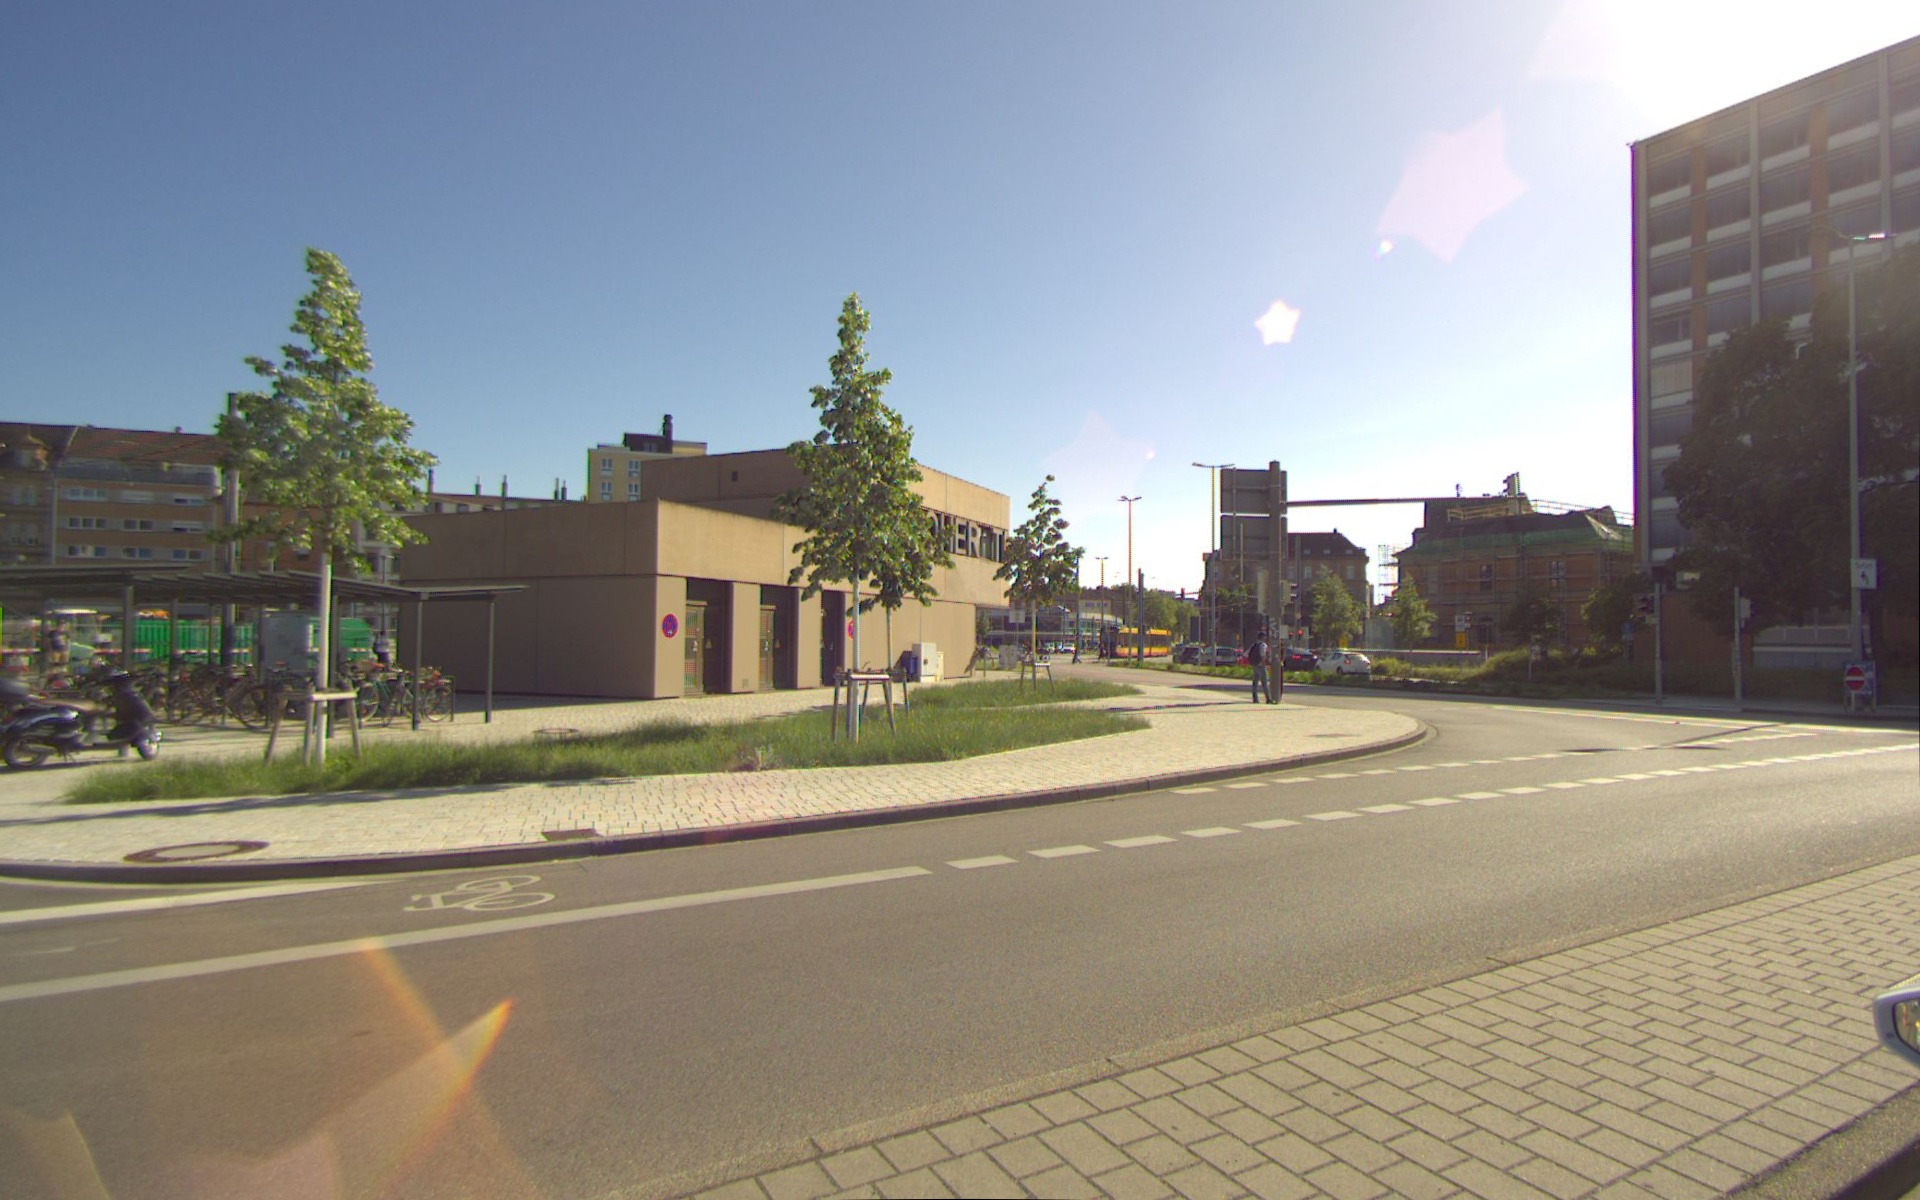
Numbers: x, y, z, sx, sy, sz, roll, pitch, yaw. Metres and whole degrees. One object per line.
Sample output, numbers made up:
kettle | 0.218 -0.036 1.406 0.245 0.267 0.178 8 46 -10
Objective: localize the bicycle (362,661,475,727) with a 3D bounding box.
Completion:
bicycle | -9.928 1.697 18.489 0.449 1.112 1.902 0 -2 26

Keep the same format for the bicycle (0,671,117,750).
bicycle | -13.029 1.537 14.014 0.449 1.022 1.902 0 -2 26

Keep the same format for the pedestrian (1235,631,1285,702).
pedestrian | 7.628 1.681 25.554 1.044 1.753 0.652 1 -2 -16

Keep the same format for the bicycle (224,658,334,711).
bicycle | -14.073 1.728 20.828 0.449 1.022 1.902 0 -2 26

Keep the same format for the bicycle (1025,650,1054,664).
bicycle | 6.805 4.881 85.969 2.370 1.076 0.811 2 0 4

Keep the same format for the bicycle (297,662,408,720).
bicycle | -11.797 1.744 19.576 0.449 1.022 1.902 0 -2 26

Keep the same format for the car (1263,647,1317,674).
car | 20.577 3.765 62.790 1.760 1.528 3.880 1 -2 -6

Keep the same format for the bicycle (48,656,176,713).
bicycle | -16.701 1.639 19.837 0.449 1.022 1.902 0 -2 26

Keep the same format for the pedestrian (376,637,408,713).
pedestrian | -15.610 2.035 27.606 0.710 2.040 0.682 1 -2 -30

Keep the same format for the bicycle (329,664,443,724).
bicycle | -10.708 1.734 18.818 0.449 1.022 1.902 0 -2 26

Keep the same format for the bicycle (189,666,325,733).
bicycle | -11.889 1.652 17.058 0.449 1.022 1.902 0 -2 26

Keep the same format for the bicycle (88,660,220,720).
bicycle | -15.082 1.656 18.864 0.449 1.022 1.902 0 -2 26

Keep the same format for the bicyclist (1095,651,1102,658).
bicyclist | 11.690 4.600 84.770 0.560 0.556 0.431 0 -2 11

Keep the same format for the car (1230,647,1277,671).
car | 20.207 4.030 69.251 1.760 1.528 3.880 1 -2 -6

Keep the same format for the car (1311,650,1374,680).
car | 21.251 3.592 55.934 1.760 1.528 3.880 1 -2 -6

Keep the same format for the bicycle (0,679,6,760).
bicycle | -12.746 1.485 12.002 0.449 1.022 1.902 0 -2 26

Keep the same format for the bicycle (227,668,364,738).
bicycle | -10.911 1.663 16.569 0.449 1.022 1.902 0 -2 26

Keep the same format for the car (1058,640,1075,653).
car | 15.020 6.522 141.315 1.709 1.672 4.002 0 -2 17

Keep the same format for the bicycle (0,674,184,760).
bicycle | -11.815 1.556 13.723 0.449 1.022 1.902 0 -2 26

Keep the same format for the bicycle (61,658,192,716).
bicycle | -15.918 1.644 19.239 0.449 1.022 1.902 0 -2 26

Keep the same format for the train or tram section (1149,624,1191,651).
train or tram section | 27.193 4.803 129.751 2.651 3.275 10.589 2 0 27

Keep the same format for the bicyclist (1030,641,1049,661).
bicyclist | 6.799 4.348 85.954 1.544 1.655 0.811 2 0 4

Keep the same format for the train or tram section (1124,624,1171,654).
train or tram section | 22.511 4.615 120.240 2.651 3.275 10.589 2 0 27

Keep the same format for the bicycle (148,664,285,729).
bicycle | -12.899 1.649 17.489 0.449 1.022 1.902 0 -2 26

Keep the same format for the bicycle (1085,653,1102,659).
bicycle | 11.295 4.729 84.845 1.381 0.556 0.435 0 -2 11

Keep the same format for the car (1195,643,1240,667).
car | 17.459 3.691 68.271 1.760 1.528 3.880 1 -2 -6

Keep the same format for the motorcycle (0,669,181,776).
motorcycle | -10.920 1.476 12.469 0.508 1.166 1.947 0 -2 25

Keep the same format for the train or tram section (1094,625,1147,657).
train or tram section | 17.813 4.426 110.809 2.651 3.275 10.589 2 0 27

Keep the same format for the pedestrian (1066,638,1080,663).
pedestrian | 9.205 4.113 81.854 1.023 2.040 0.724 1 -2 -9

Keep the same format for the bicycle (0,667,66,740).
bicycle | -14.159 1.509 14.445 0.449 1.022 1.902 0 -2 26

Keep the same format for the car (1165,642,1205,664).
car | 16.778 3.927 74.998 1.760 1.528 3.880 1 -2 -6
